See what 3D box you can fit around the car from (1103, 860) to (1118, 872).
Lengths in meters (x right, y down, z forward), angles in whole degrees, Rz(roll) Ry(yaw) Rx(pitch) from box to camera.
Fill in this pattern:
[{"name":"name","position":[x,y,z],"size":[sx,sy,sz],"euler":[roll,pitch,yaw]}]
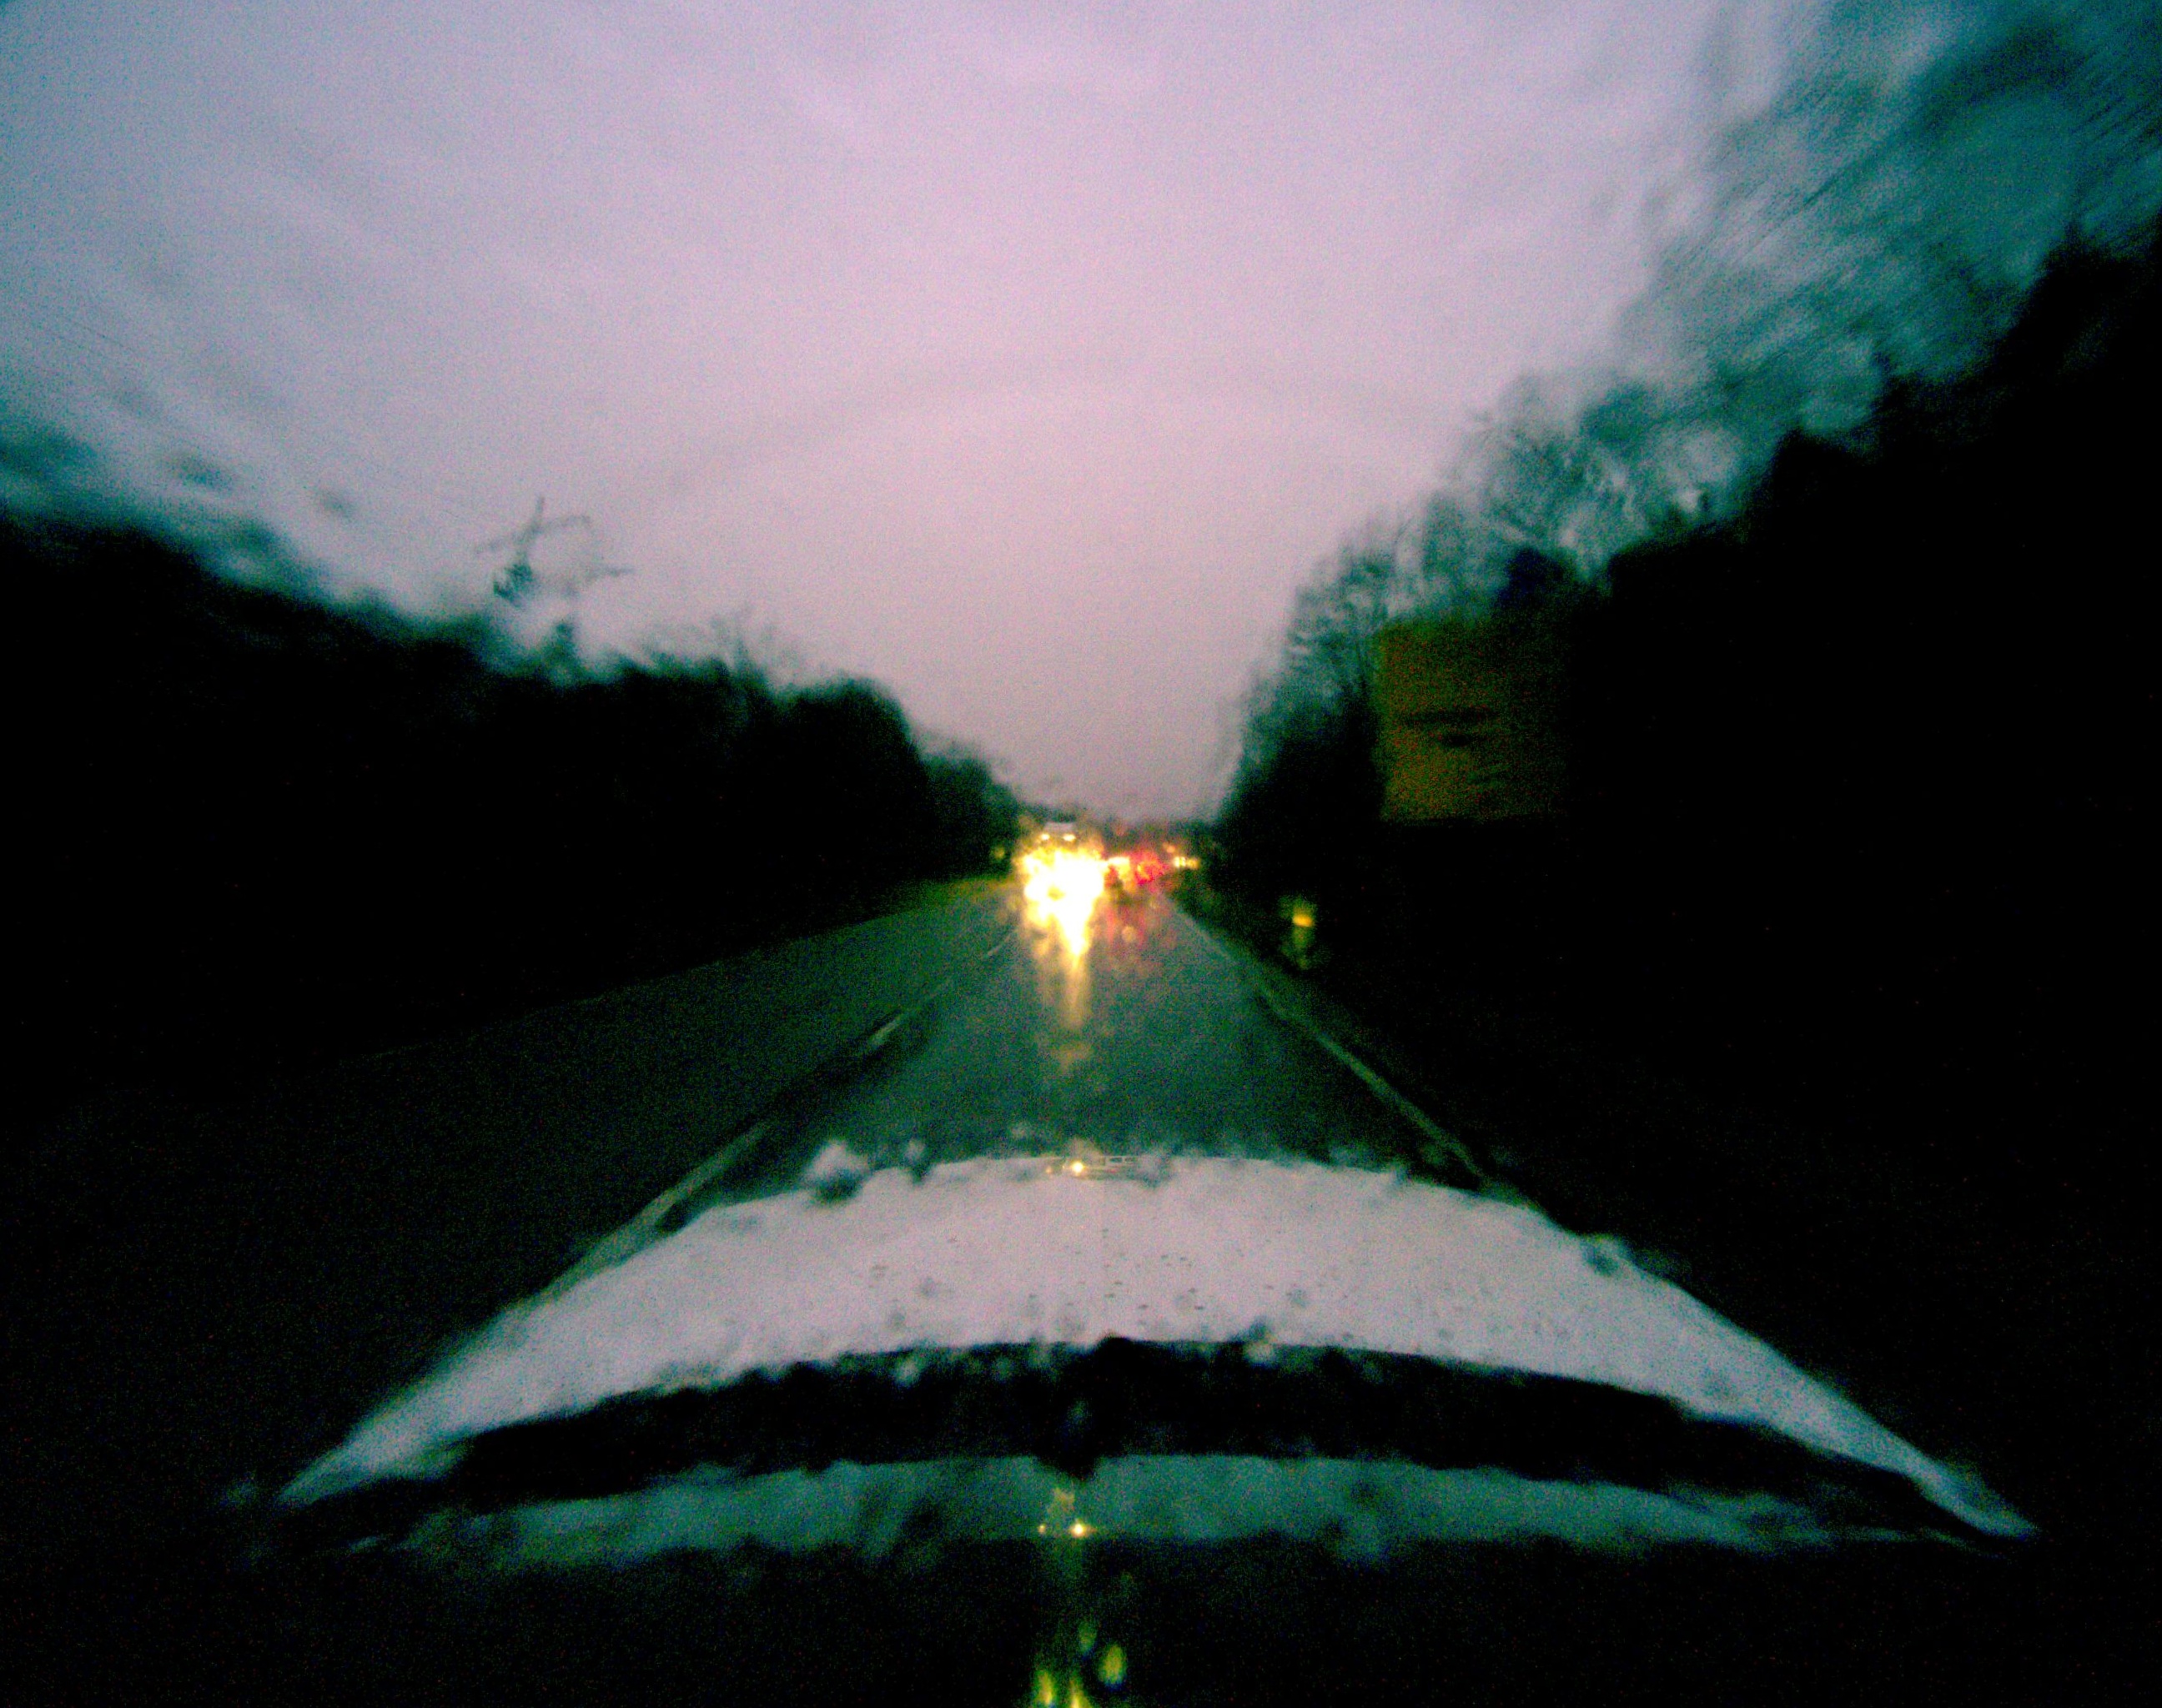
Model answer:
[{"name":"car","position":[3.711,1.442,101.624],"size":[1.737,1.473,4.489],"euler":[0,0,5]}]

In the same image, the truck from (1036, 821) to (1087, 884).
[{"name":"truck","position":[-1.248,-0.087,57.819],"size":[2.786,4.126,7.208],"euler":[-2,0,4]}]

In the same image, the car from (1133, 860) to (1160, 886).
[{"name":"car","position":[5.433,1.520,67.516],"size":[1.983,2.013,4.008],"euler":[-2,0,7]}]

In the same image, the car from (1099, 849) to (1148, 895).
[{"name":"car","position":[1.626,0.659,32.033],"size":[1.721,1.643,4.001],"euler":[-2,0,1]}]
